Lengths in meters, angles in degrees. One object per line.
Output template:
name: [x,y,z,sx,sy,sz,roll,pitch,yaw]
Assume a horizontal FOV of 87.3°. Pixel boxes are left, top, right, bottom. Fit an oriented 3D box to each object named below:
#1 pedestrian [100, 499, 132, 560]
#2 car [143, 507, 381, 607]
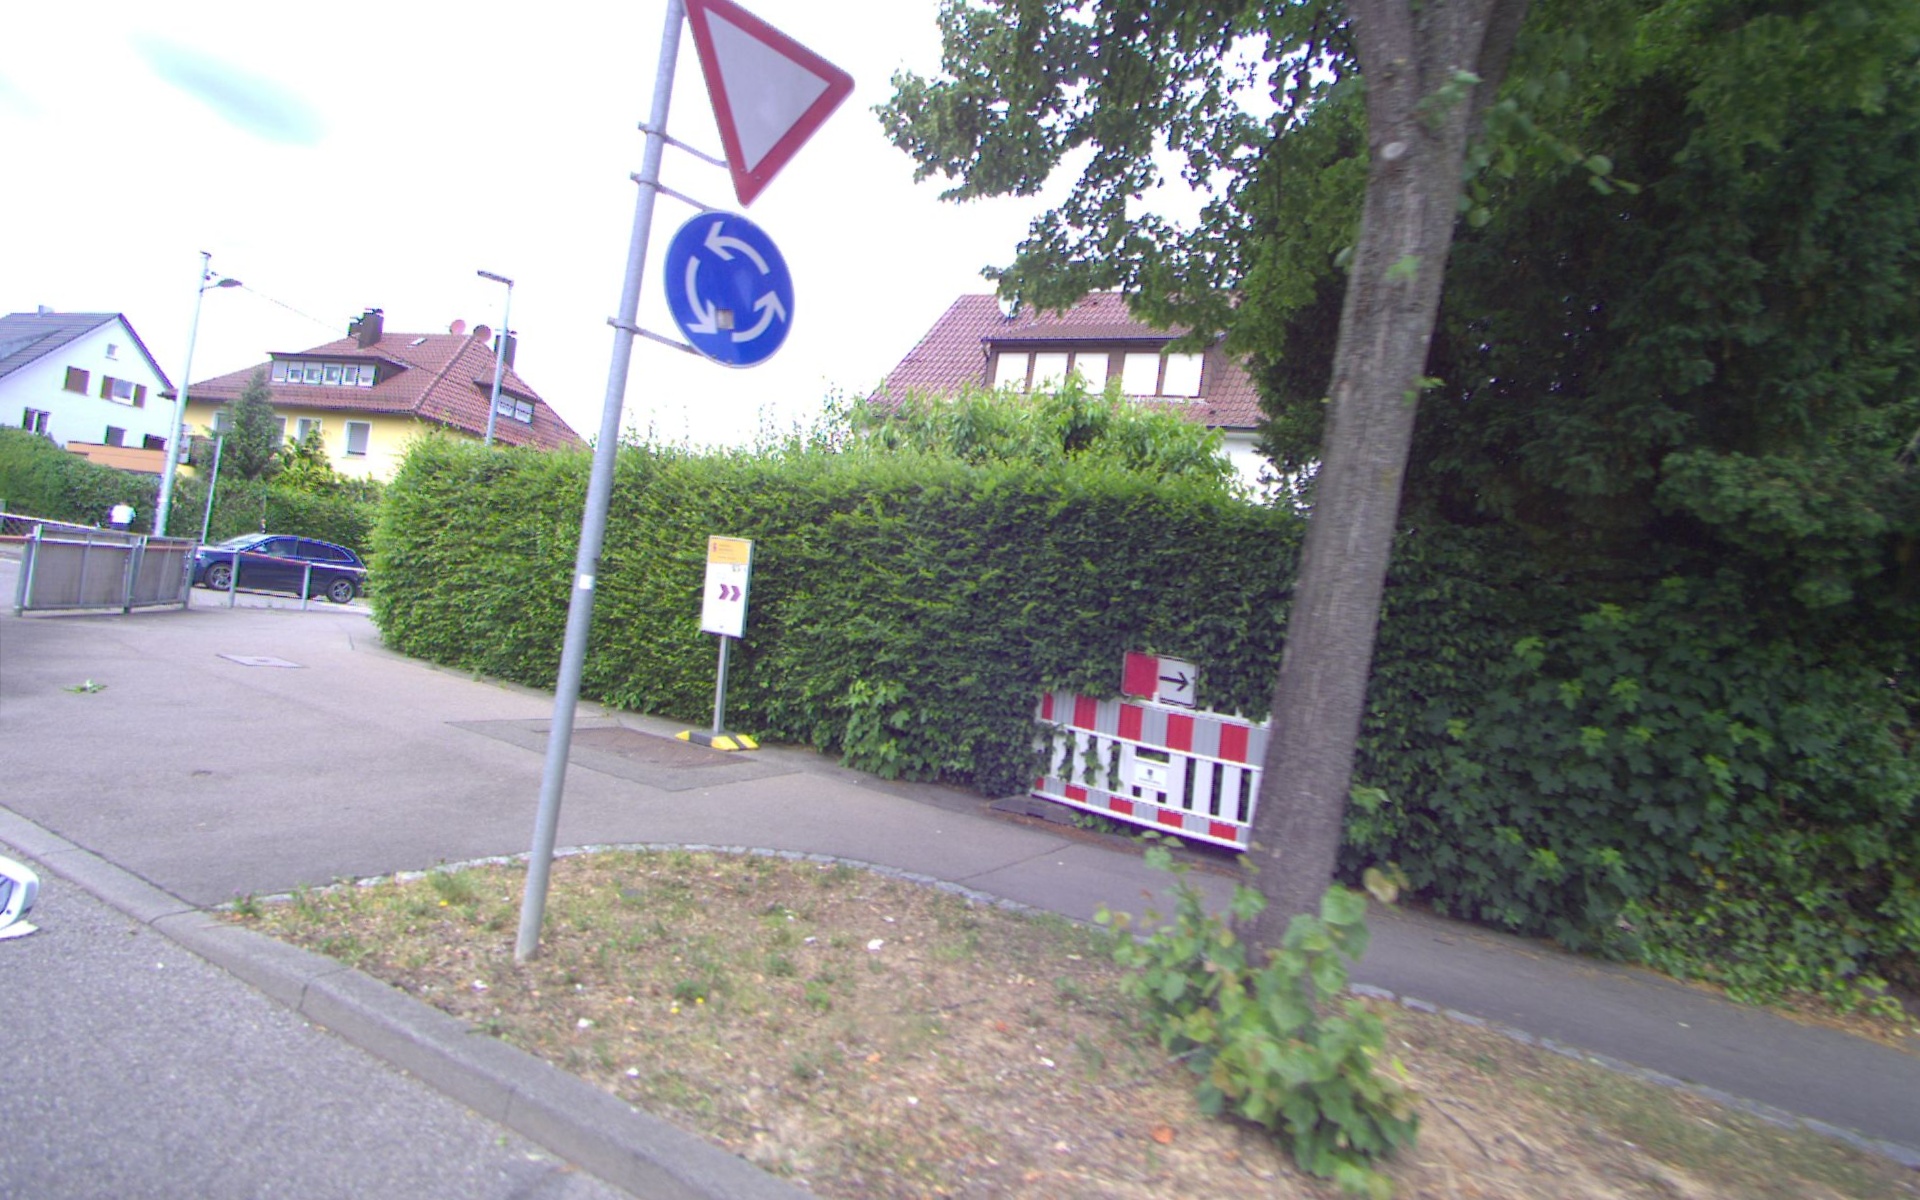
pedestrian: [-22.560,-1.878,26.888,0.488,1.552,0.479,8,0,-38]
car: [-16.999,-0.981,24.755,1.622,1.680,4.409,7,-3,30]
